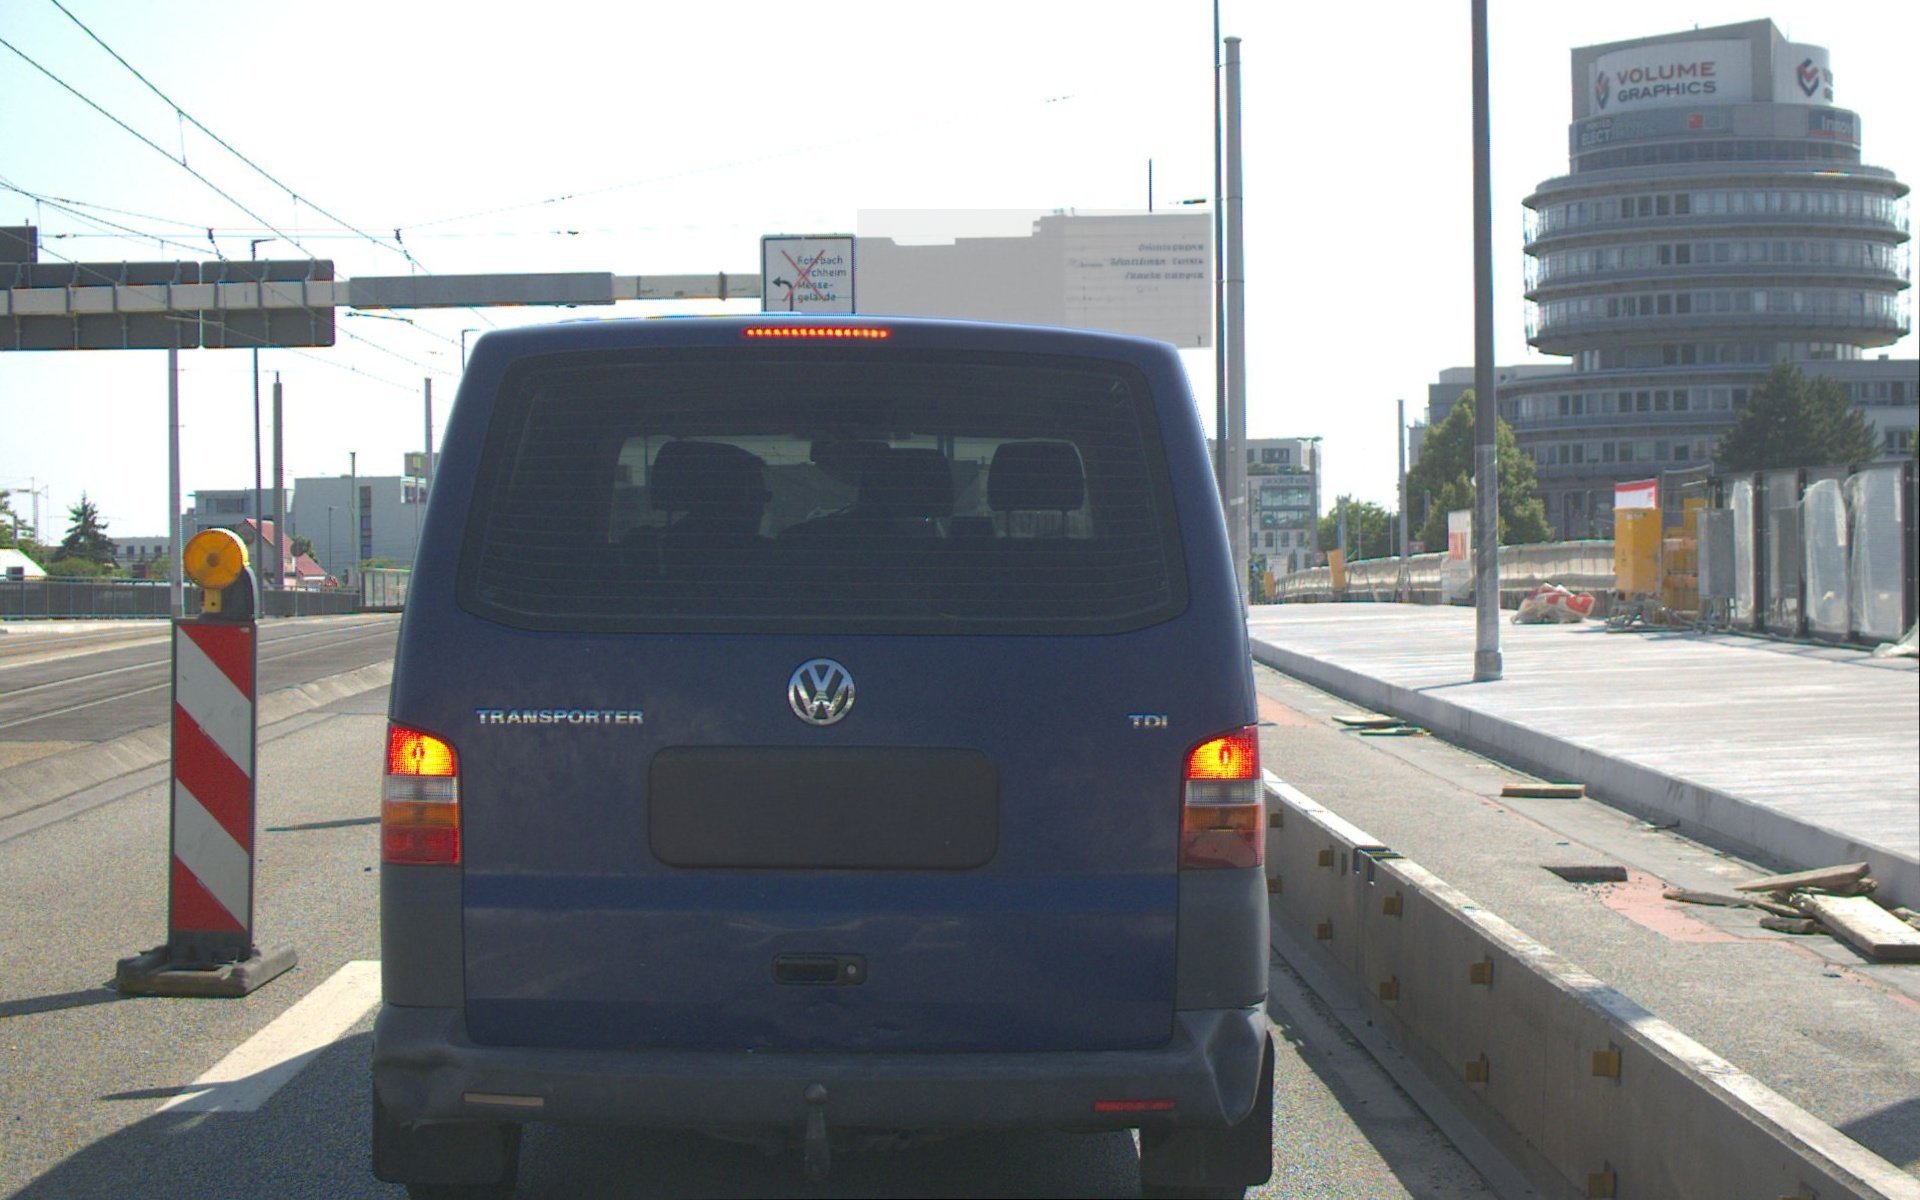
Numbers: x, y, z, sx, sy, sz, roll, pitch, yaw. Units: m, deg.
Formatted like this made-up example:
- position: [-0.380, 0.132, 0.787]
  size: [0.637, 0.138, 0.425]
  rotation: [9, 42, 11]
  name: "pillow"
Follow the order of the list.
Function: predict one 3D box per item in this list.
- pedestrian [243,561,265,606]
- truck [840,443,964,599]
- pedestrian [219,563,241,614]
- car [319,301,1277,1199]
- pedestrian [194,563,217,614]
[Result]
- position: [-25.002, -0.592, 121.763]
  size: [0.634, 1.593, 0.752]
  rotation: [0, 1, -1]
  name: "pedestrian"
- position: [-1.247, -1.795, 75.043]
  size: [2.460, 3.124, 11.217]
  rotation: [-1, 2, -1]
  name: "truck"
- position: [-25.258, -0.399, 118.941]
  size: [0.634, 1.768, 0.752]
  rotation: [0, 1, -1]
  name: "pedestrian"
- position: [-0.217, 0.353, 8.540]
  size: [1.816, 1.899, 4.054]
  rotation: [0, 1, 3]
  name: "car"
- position: [-26.071, -0.407, 118.831]
  size: [0.634, 1.746, 0.752]
  rotation: [0, 1, -1]
  name: "pedestrian"
